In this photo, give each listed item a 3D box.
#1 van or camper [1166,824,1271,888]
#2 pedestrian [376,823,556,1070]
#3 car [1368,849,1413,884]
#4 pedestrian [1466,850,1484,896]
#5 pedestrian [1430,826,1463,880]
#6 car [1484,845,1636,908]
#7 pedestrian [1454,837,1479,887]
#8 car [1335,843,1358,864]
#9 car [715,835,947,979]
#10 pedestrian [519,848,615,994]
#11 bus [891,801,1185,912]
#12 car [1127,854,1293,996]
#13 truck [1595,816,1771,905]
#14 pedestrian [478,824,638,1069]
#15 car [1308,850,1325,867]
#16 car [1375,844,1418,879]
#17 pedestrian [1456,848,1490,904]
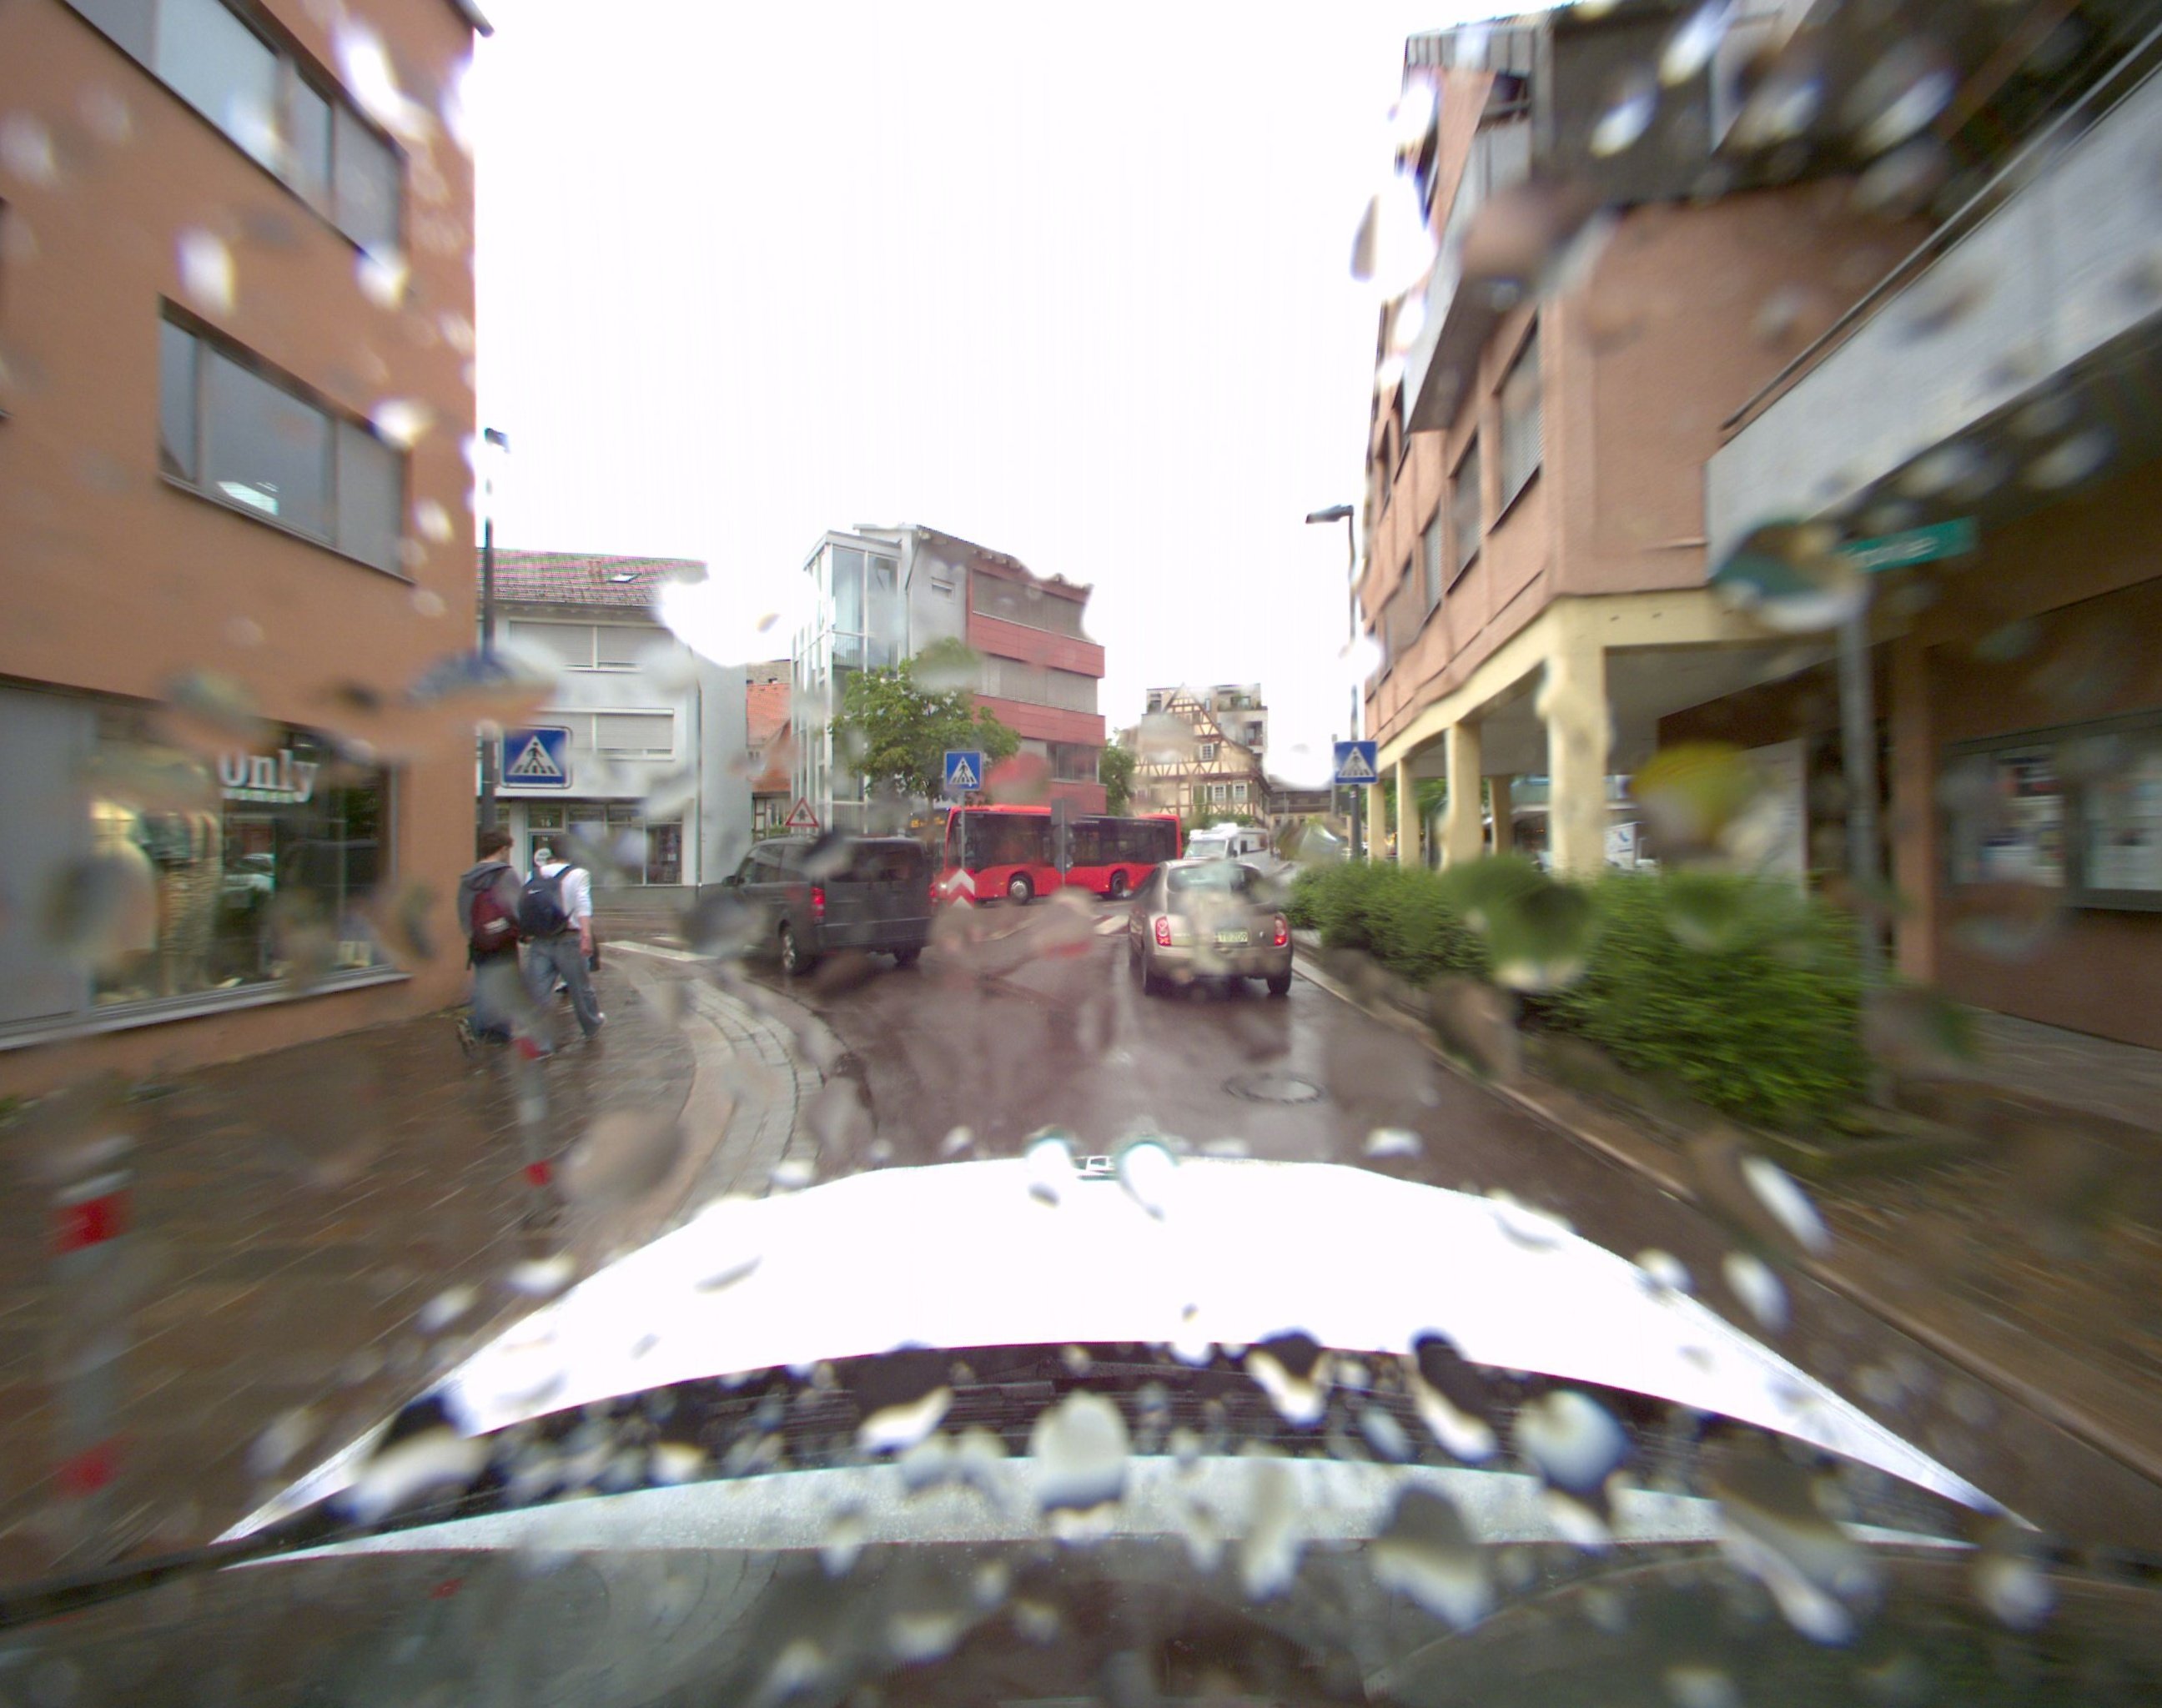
[{"bbox_3d":[6.338,0.086,36.666,2.414,2.585,6.793,0,0,30],"label":"van or camper"},{"bbox_3d":[-4.873,0.682,6.535,0.691,1.800,1.056,-1,-1,-6],"label":"pedestrian"},{"bbox_3d":[13.182,0.495,34.624,1.523,1.362,3.392,-3,-1,24],"label":"car"},{"bbox_3d":[12.974,0.627,26.827,0.492,1.509,0.493,-1,-1,21],"label":"pedestrian"},{"bbox_3d":[11.502,-0.036,25.628,0.689,1.661,0.826,-2,-1,41],"label":"pedestrian"},{"bbox_3d":[10.866,0.485,18.862,1.750,1.276,4.487,-1,-1,13],"label":"car"},{"bbox_3d":[14.009,0.293,29.611,0.727,1.749,0.897,-1,-1,21],"label":"pedestrian"},{"bbox_3d":[22.230,0.000,68.057,1.660,1.713,3.337,-1,-1,20],"label":"car"},{"bbox_3d":[-4.024,0.636,12.513,1.962,1.781,4.674,0,0,-37],"label":"car"},{"bbox_3d":[-5.904,0.746,9.386,0.657,1.610,0.684,-1,0,-1],"label":"pedestrian"},{"bbox_3d":[-0.941,-0.044,27.354,10.669,3.088,2.787,-2,1,-44],"label":"bus"},{"bbox_3d":[1.460,0.756,10.295,1.517,1.471,3.340,-1,0,-1],"label":"car"},{"bbox_3d":[13.672,0.153,18.808,1.751,1.808,4.013,-1,-1,12],"label":"truck"},{"bbox_3d":[-4.181,0.686,6.600,0.662,1.807,1.059,-1,-1,-5],"label":"pedestrian"},{"bbox_3d":[25.110,0.468,86.828,1.574,1.713,3.336,-1,-1,18],"label":"car"},{"bbox_3d":[15.169,0.345,39.301,1.611,1.501,4.018,-4,-1,17],"label":"car"},{"bbox_3d":[12.076,0.662,25.074,0.716,1.689,0.737,-2,-1,43],"label":"pedestrian"}]
